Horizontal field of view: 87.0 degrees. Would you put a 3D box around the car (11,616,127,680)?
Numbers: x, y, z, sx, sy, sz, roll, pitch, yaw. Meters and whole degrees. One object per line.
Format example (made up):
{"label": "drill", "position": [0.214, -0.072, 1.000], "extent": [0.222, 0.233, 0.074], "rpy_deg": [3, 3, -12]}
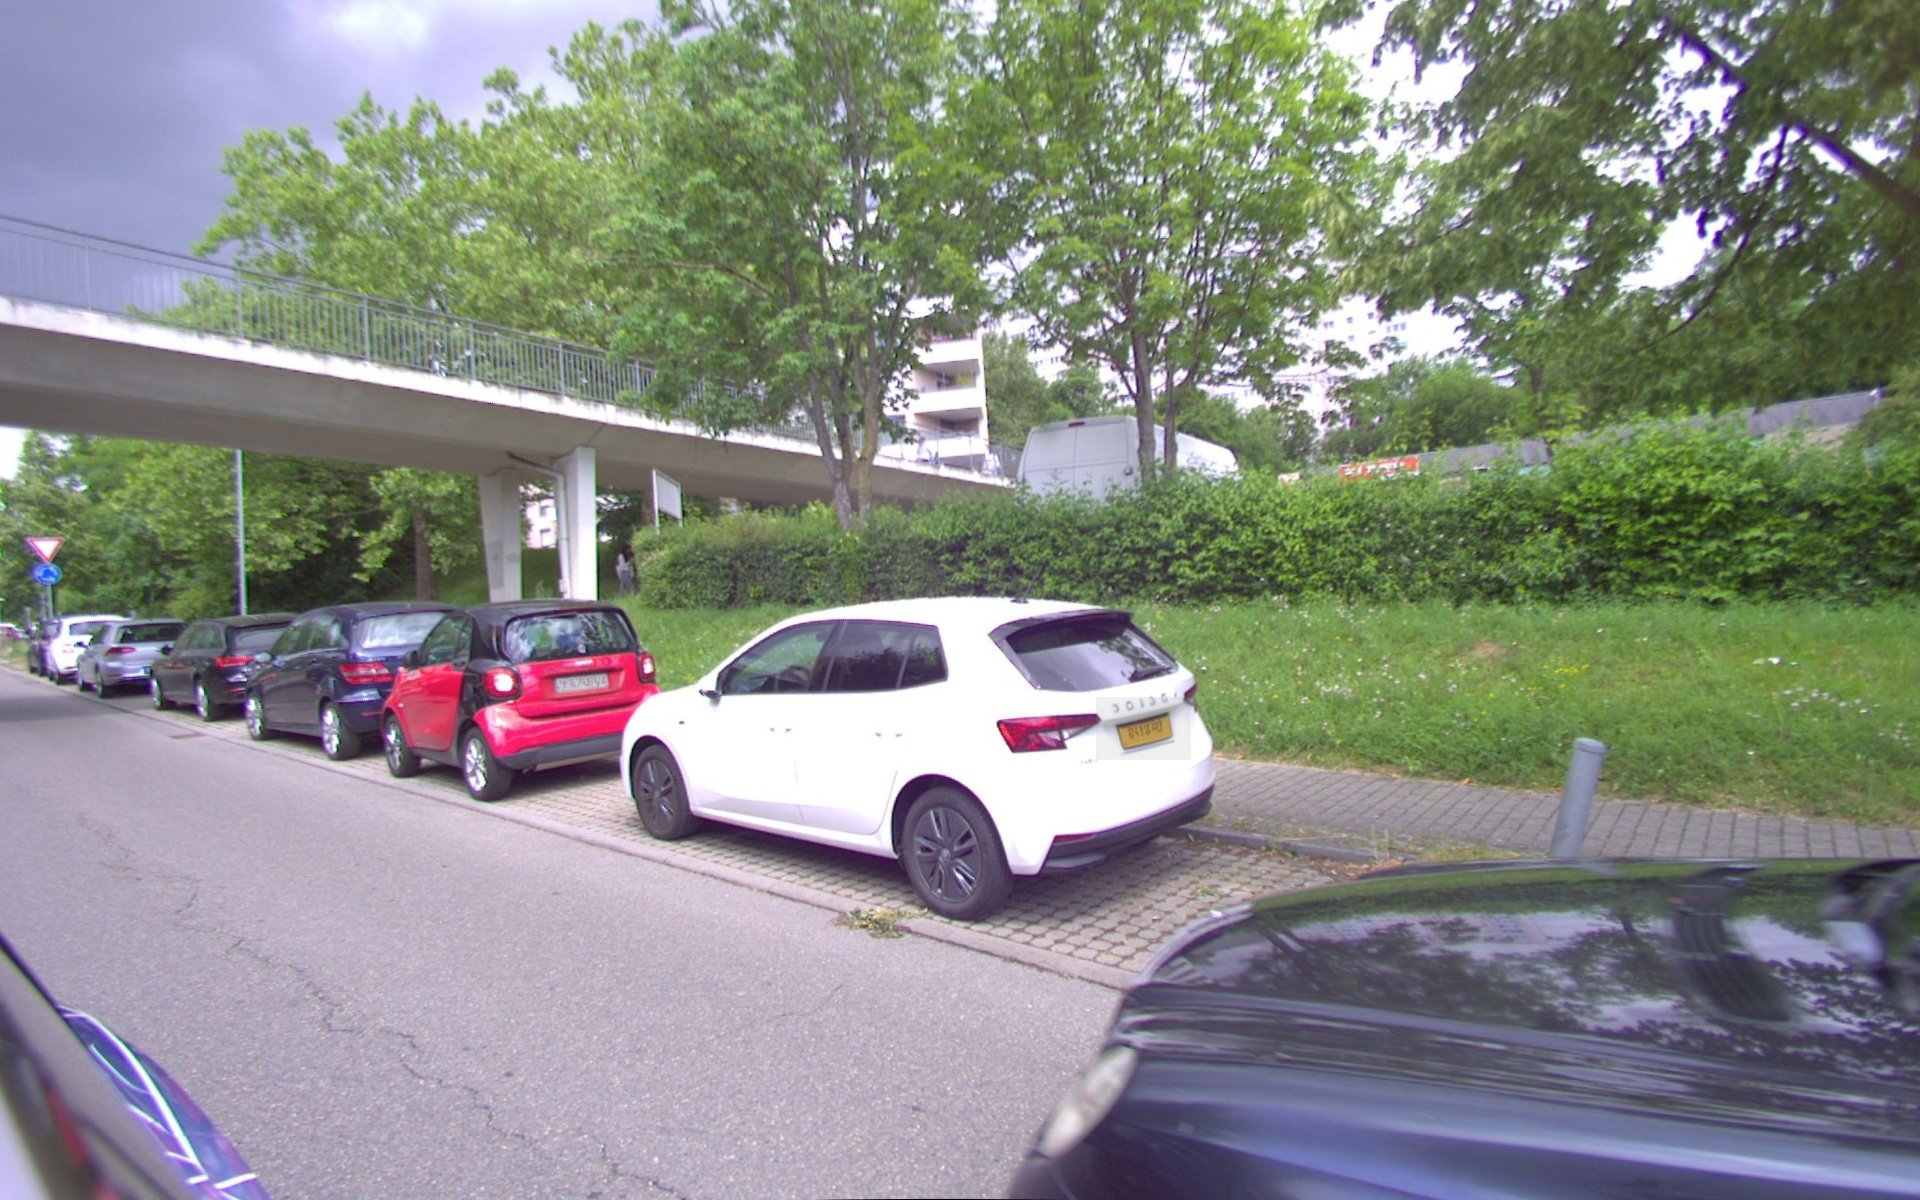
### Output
{"label": "car", "position": [-23.979, 1.237, 27.196], "extent": [3.719, 1.582, 1.790], "rpy_deg": [-1, 0, 40]}

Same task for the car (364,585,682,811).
{"label": "car", "position": [-3.953, 0.744, 9.046], "extent": [2.685, 1.596, 1.577], "rpy_deg": [-1, 3, 43]}

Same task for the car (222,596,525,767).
{"label": "car", "position": [-6.967, 0.834, 11.864], "extent": [3.982, 1.596, 1.790], "rpy_deg": [-2, 2, 40]}

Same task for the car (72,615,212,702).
{"label": "car", "position": [-16.630, 1.108, 20.515], "extent": [1.788, 1.466, 3.863], "rpy_deg": [-5, 3, -44]}

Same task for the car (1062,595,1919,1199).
{"label": "car", "position": [2.385, 0.684, 0.776], "extent": [4.363, 1.430, 1.734], "rpy_deg": [-2, -1, 39]}

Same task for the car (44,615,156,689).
{"label": "car", "position": [-20.561, 1.172, 24.147], "extent": [1.787, 1.582, 3.724], "rpy_deg": [0, -1, -44]}

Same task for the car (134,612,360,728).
{"label": "car", "position": [-11.239, 0.984, 15.842], "extent": [4.483, 1.491, 1.790], "rpy_deg": [-1, 1, 40]}

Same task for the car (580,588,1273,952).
{"label": "car", "position": [-0.425, 0.714, 6.136], "extent": [4.046, 1.415, 1.790], "rpy_deg": [-1, 2, 41]}
